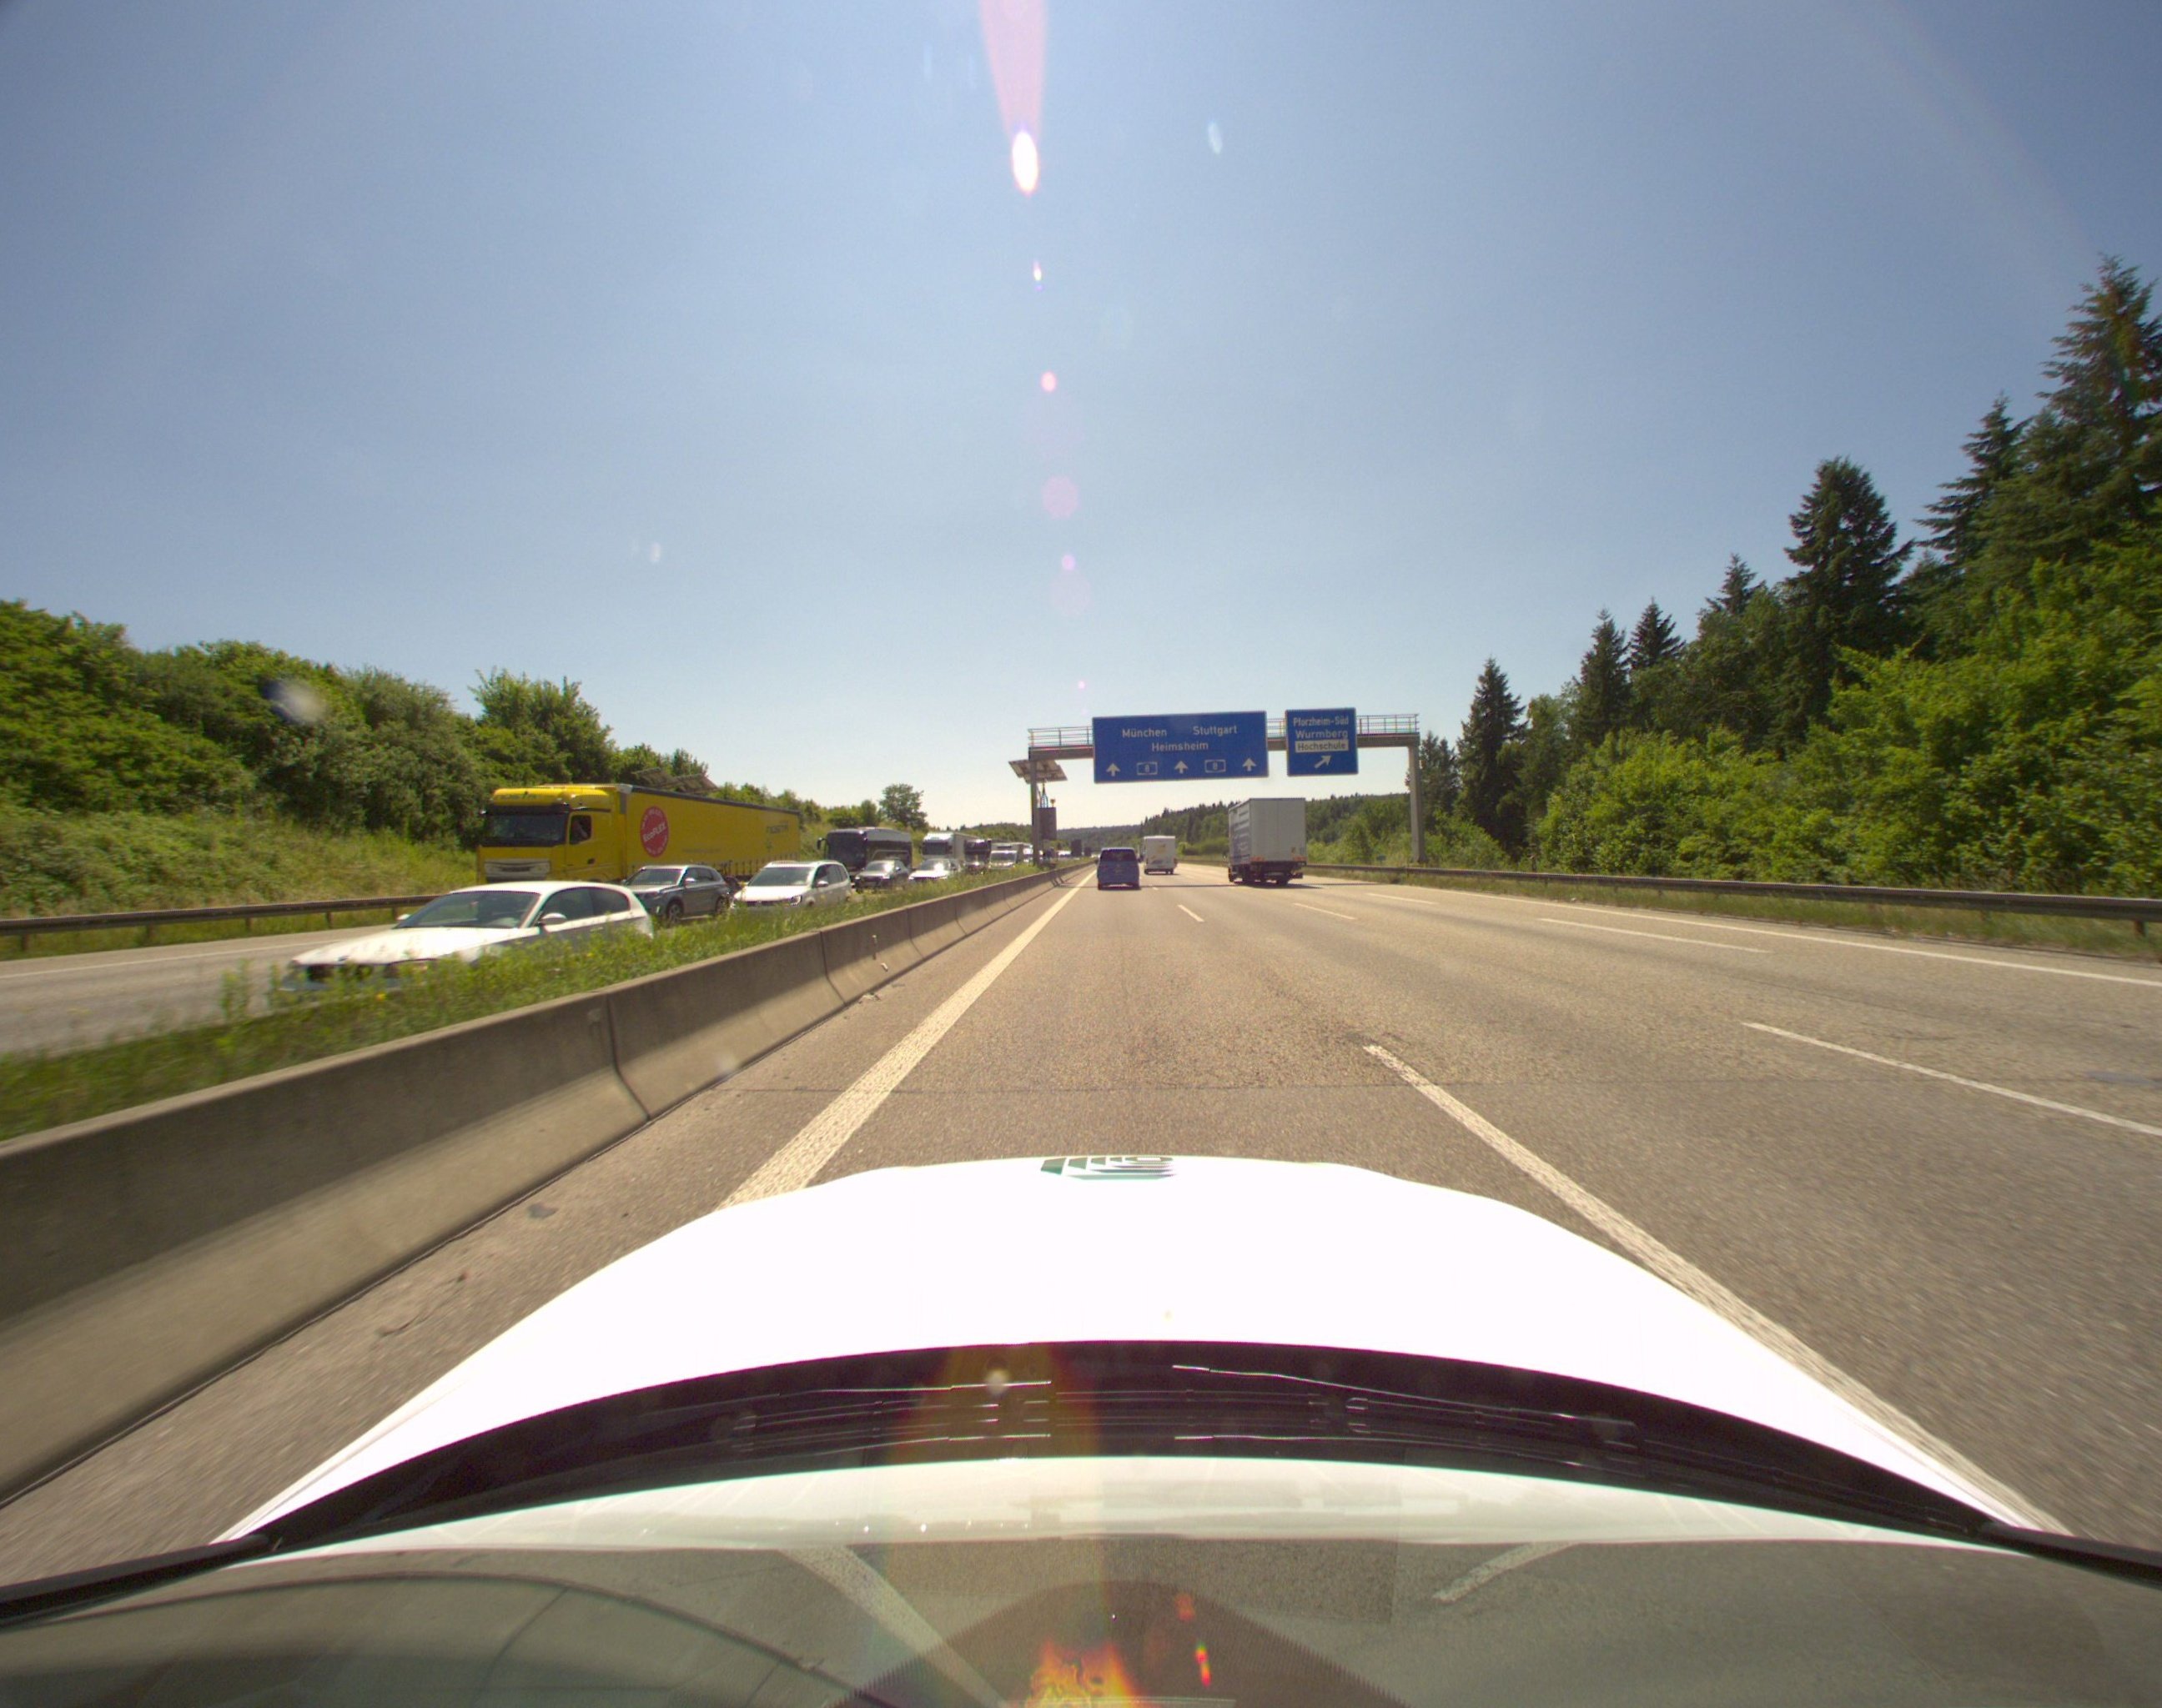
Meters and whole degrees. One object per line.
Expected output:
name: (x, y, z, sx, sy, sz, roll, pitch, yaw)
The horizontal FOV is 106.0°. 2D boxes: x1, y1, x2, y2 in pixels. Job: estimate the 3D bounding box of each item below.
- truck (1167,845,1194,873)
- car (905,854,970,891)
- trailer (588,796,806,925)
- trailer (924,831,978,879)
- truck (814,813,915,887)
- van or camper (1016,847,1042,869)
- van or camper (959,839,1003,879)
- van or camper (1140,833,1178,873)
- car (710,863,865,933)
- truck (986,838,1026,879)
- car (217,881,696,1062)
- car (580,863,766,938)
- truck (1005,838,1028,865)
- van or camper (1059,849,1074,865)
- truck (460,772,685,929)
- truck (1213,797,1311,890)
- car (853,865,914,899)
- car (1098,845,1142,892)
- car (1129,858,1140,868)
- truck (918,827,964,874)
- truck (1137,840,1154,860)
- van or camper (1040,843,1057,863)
truck: (13.546, 0.672, 111.171, 2.916, 3.575, 8.532, -2, 0, 3)
car: (-6.270, 0.800, 36.175, 1.804, 1.513, 5.032, 0, -1, 2)
trailer: (-14.453, 0.286, 32.310, 2.640, 4.144, 11.860, 0, -1, 2)
trailer: (-12.606, 0.169, 80.387, 2.770, 4.305, 11.718, -1, -1, 3)
truck: (-13.641, -0.139, 52.580, 3.044, 4.222, 11.492, 0, -1, 2)
van or camper: (-7.256, 0.542, 114.089, 2.830, 2.948, 8.117, 0, -1, 2)
van or camper: (-8.883, 0.494, 73.068, 2.518, 3.360, 7.950, 0, -1, 3)
van or camper: (6.270, -0.092, 66.312, 2.593, 3.078, 7.186, 0, 0, 2)
car: (-7.005, 0.988, 20.092, 1.804, 1.513, 5.032, 0, -1, 2)
truck: (-5.378, 0.333, 59.291, 2.112, 2.842, 6.215, 0, -1, 2)
car: (-6.706, 1.127, 9.666, 1.804, 1.513, 4.820, 0, -1, 2)
car: (-10.736, 1.138, 22.081, 1.855, 1.752, 5.904, 0, -1, 2)
truck: (-10.195, -0.317, 129.363, 2.790, 4.128, 6.144, 0, -1, 2)
van or camper: (-2.390, 0.556, 139.785, 2.185, 2.541, 6.418, -1, -1, 2)
truck: (-14.750, -0.050, 24.288, 2.591, 4.065, 6.137, 0, -1, 3)
truck: (8.836, -0.419, 41.114, 2.774, 4.128, 9.738, 0, -1, 0)
car: (-9.740, 1.358, 40.563, 1.768, 1.613, 4.560, 0, -1, 2)
car: (1.762, 0.661, 37.530, 1.902, 2.014, 4.001, -1, -1, 2)
car: (9.595, 1.650, 146.608, 1.811, 1.794, 3.896, 0, -1, 2)
truck: (-12.894, -0.242, 75.361, 2.771, 4.114, 7.031, -1, -1, 2)
truck: (14.007, -0.755, 177.423, 3.473, 4.170, 8.646, 0, -1, 2)
van or camper: (-5.783, -0.178, 146.446, 2.304, 3.390, 7.682, -1, -1, 2)
